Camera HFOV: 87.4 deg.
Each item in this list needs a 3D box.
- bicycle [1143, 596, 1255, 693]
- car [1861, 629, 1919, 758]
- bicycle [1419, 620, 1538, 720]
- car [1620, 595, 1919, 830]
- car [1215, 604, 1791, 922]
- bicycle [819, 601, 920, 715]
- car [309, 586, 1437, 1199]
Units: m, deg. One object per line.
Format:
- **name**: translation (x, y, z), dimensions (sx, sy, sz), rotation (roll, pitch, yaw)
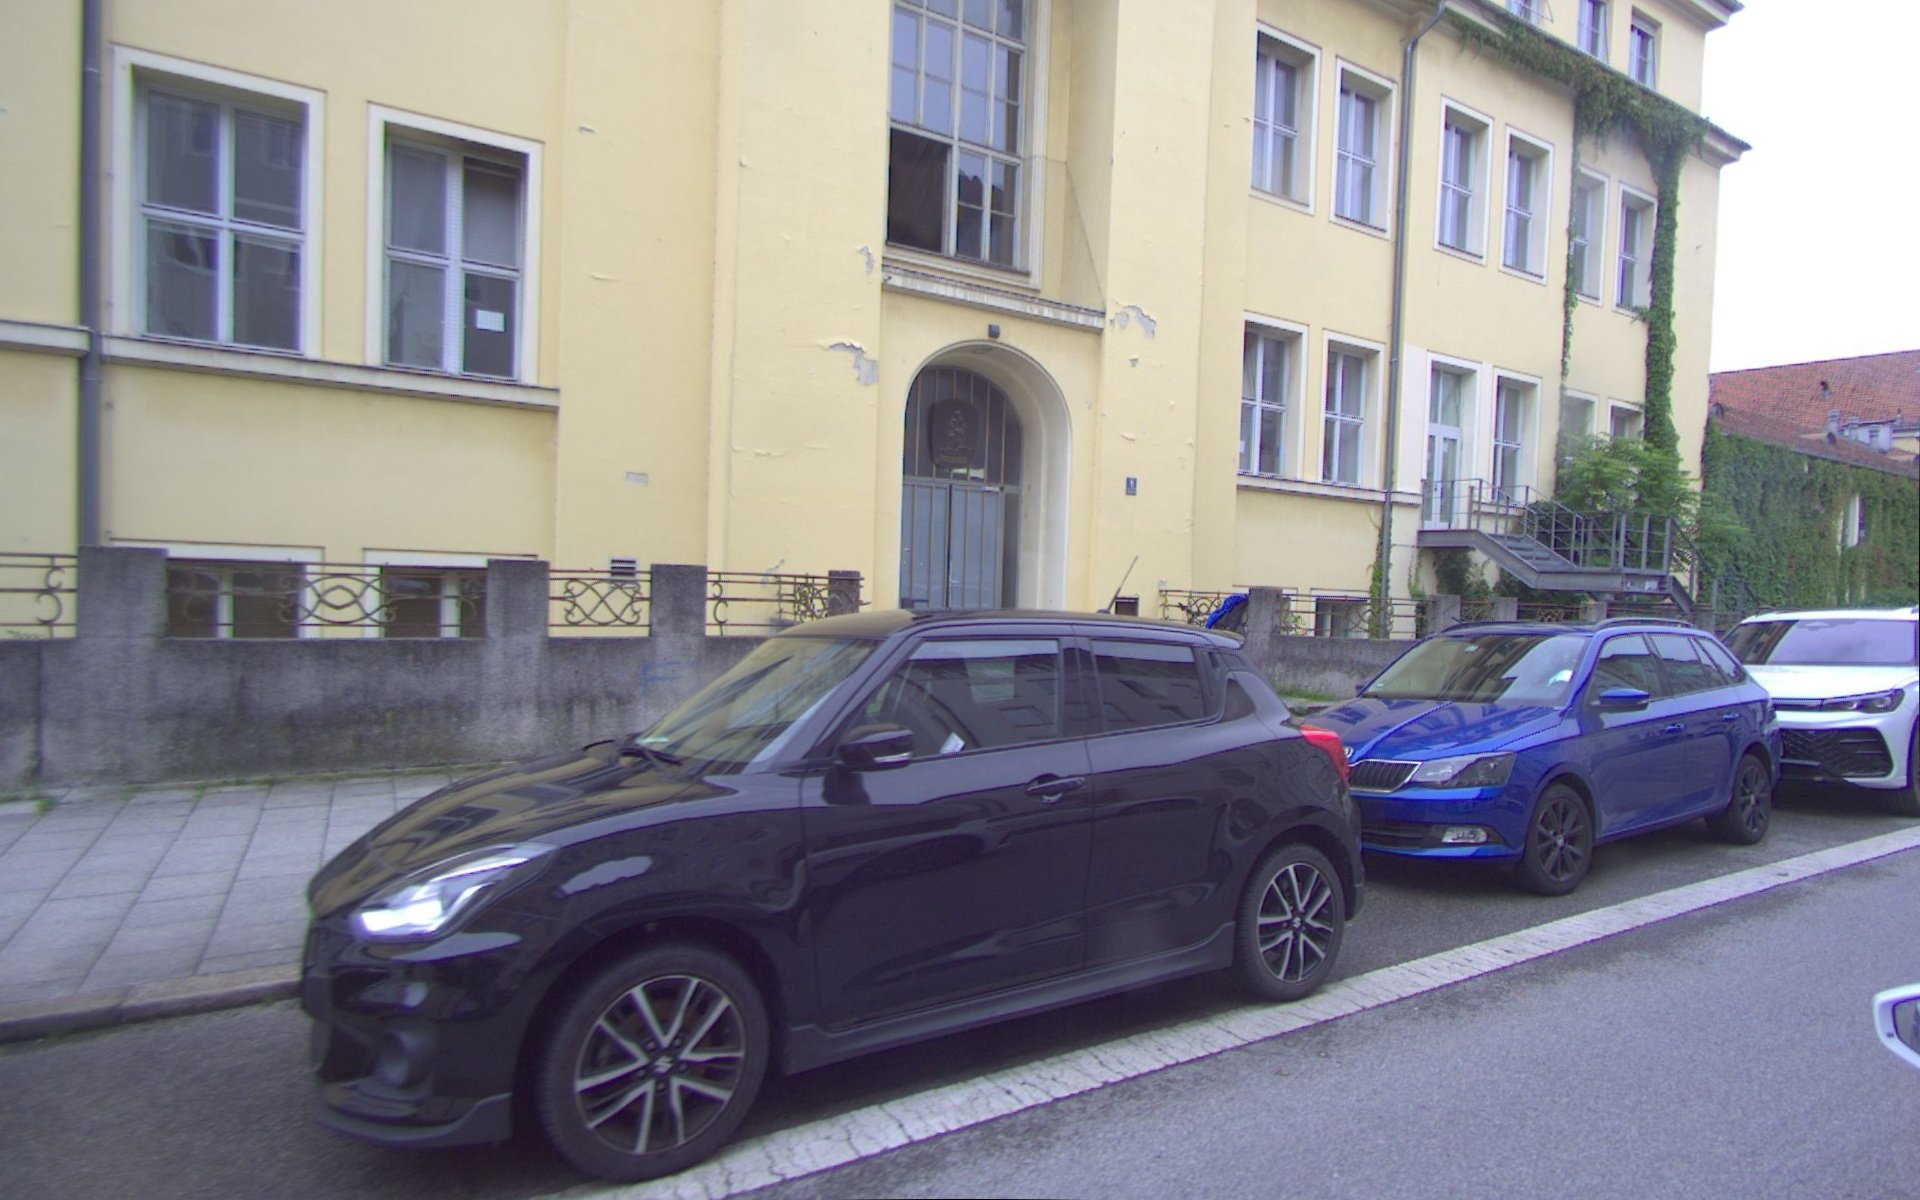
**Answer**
- **bicycle**: translation (3.363, 0.597, 14.278), dimensions (0.572, 1.205, 1.548), rotation (1, 3, -31)
- **car**: translation (12.501, 1.066, 11.972), dimensions (3.852, 1.444, 1.670), rotation (1, -2, -33)
- **bicycle**: translation (6.833, 0.901, 13.225), dimensions (1.543, 1.205, 0.574), rotation (1, 3, -30)
- **car**: translation (7.840, 0.847, 9.001), dimensions (4.311, 1.655, 1.670), rotation (1, -2, -34)
- **car**: translation (3.679, 0.838, 6.622), dimensions (3.931, 1.525, 1.670), rotation (1, -2, -33)
- **bicycle**: translation (-1.011, 0.591, 10.879), dimensions (0.434, 1.065, 1.548), rotation (1, 2, -31)
- **car**: translation (-0.121, 0.779, 3.893), dimensions (3.940, 1.515, 1.672), rotation (1, -2, -31)
